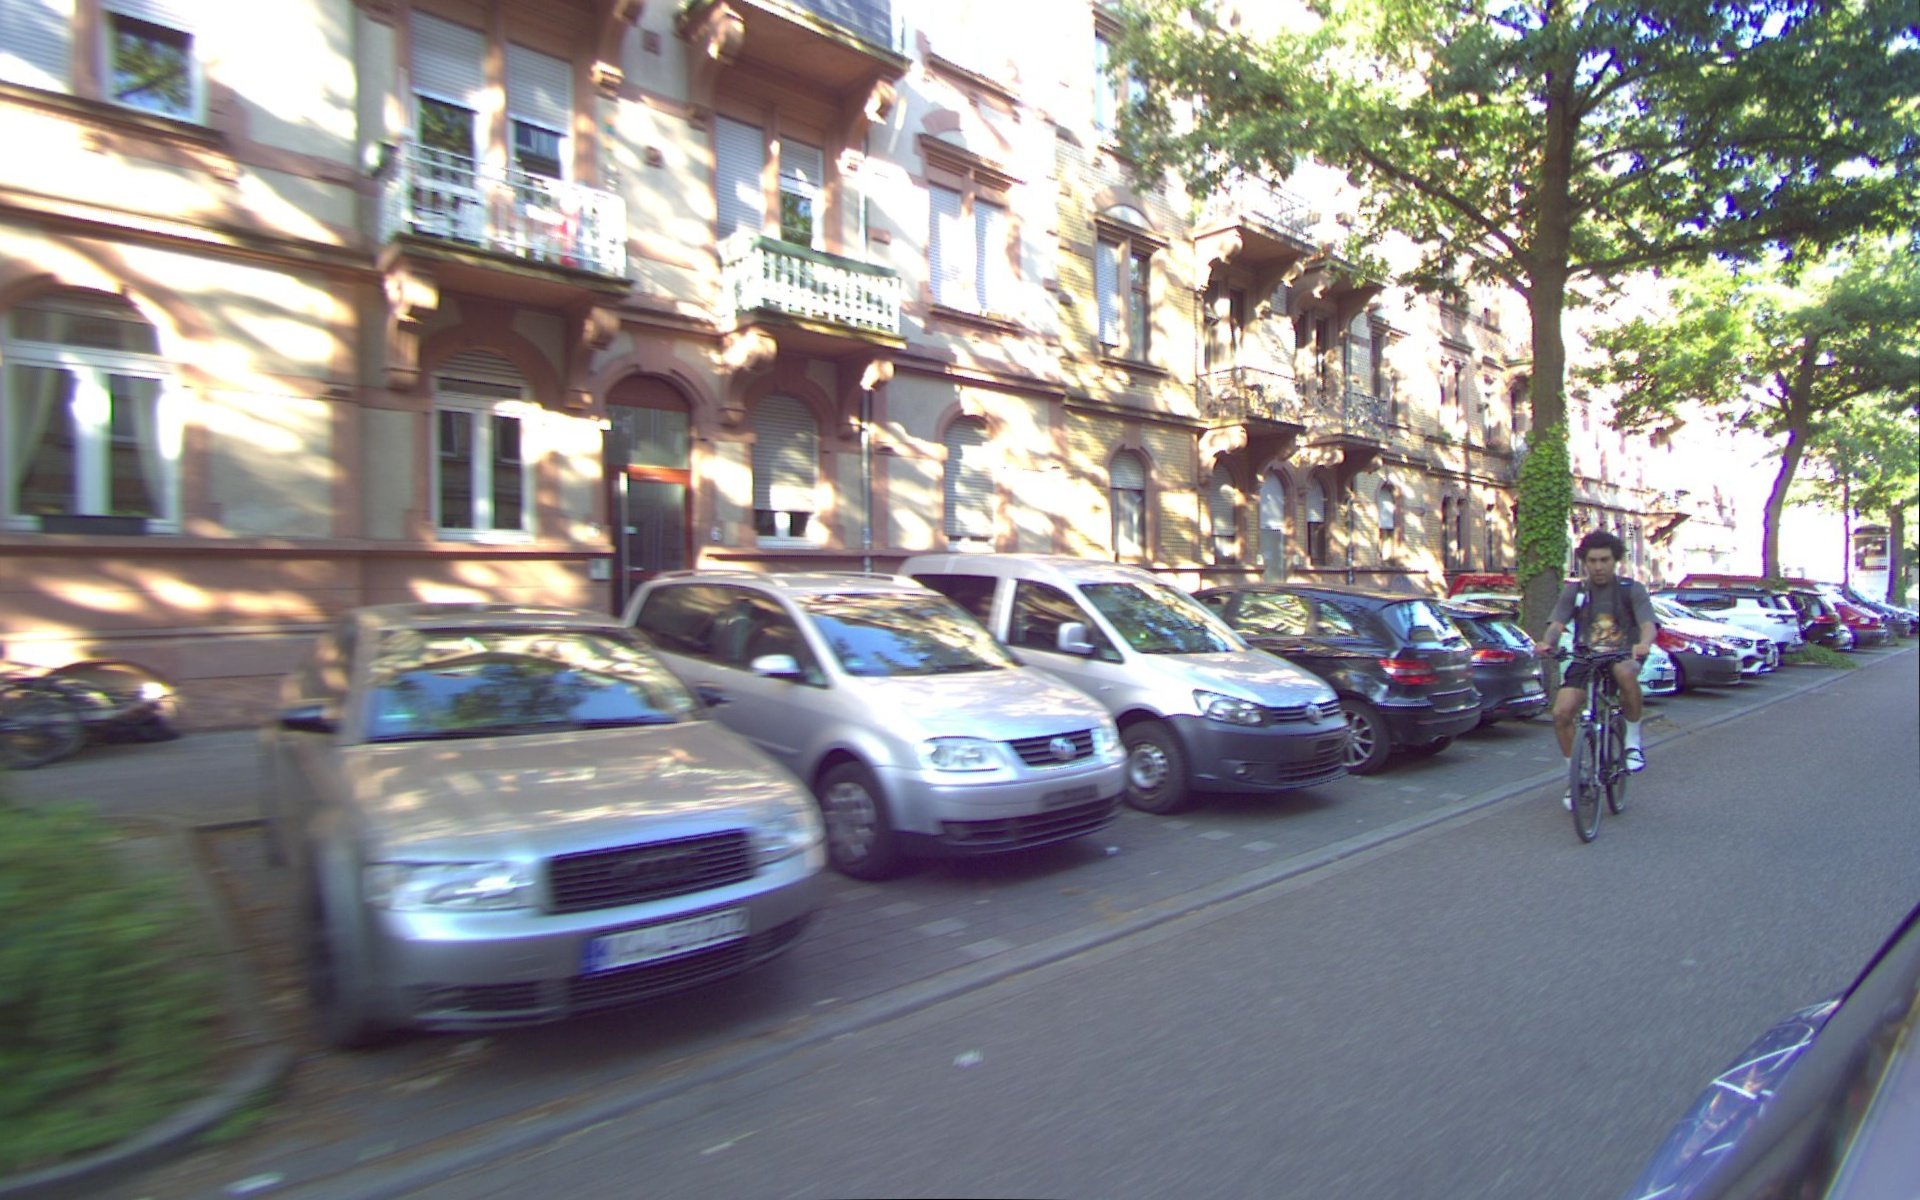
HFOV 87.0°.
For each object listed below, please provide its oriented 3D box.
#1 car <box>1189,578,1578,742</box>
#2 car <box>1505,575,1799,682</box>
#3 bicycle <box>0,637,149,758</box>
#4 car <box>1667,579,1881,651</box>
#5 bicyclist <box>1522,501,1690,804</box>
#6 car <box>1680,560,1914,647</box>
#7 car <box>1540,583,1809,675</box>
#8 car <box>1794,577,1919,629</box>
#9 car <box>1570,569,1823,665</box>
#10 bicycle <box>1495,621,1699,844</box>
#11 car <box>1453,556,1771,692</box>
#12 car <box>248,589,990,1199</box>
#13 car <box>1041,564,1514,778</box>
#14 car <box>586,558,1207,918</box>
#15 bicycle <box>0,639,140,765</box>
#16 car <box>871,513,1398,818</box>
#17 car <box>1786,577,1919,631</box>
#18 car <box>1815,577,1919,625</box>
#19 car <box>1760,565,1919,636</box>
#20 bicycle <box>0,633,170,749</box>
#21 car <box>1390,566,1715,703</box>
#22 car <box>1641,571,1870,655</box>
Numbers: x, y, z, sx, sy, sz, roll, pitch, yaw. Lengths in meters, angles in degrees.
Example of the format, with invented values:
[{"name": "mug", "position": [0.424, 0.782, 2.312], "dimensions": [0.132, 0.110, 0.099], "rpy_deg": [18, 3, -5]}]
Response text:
[{"name": "car", "position": [4.828, 0.554, 11.918], "dimensions": [1.709, 1.478, 3.840], "rpy_deg": [0, 3, -43]}, {"name": "car", "position": [12.433, 0.416, 18.405], "dimensions": [1.749, 1.599, 4.057], "rpy_deg": [0, 3, -39]}, {"name": "bicycle", "position": [-7.171, 0.748, 7.832], "dimensions": [1.385, 0.866, 0.399], "rpy_deg": [0, 0, -41]}, {"name": "car", "position": [21.228, 0.318, 26.512], "dimensions": [1.750, 1.473, 4.057], "rpy_deg": [0, 5, -41]}, {"name": "bicyclist", "position": [4.459, 0.323, 6.976], "dimensions": [1.101, 1.899, 0.711], "rpy_deg": [0, 0, -42]}, {"name": "car", "position": [23.215, 0.016, 28.241], "dimensions": [1.892, 2.001, 4.699], "rpy_deg": [0, 5, -41]}, {"name": "car", "position": [14.174, 0.486, 20.266], "dimensions": [1.749, 1.499, 4.057], "rpy_deg": [0, 3, -39]}, {"name": "car", "position": [32.530, 0.105, 36.057], "dimensions": [1.750, 1.548, 4.057], "rpy_deg": [0, 5, -41]}, {"name": "car", "position": [15.775, 0.288, 21.855], "dimensions": [1.749, 1.641, 4.057], "rpy_deg": [0, 5, -40]}, {"name": "bicycle", "position": [4.414, 0.811, 6.955], "dimensions": [1.855, 1.276, 0.711], "rpy_deg": [0, 1, -42]}, {"name": "car", "position": [10.660, 0.281, 16.805], "dimensions": [1.749, 1.909, 4.057], "rpy_deg": [0, 3, -39]}, {"name": "car", "position": [-2.030, 0.696, 4.789], "dimensions": [1.869, 1.385, 4.468], "rpy_deg": [0, 2, -39]}, {"name": "car", "position": [2.971, 0.501, 10.204], "dimensions": [1.709, 1.607, 4.238], "rpy_deg": [0, 3, -43]}, {"name": "car", "position": [-0.700, 0.555, 6.769], "dimensions": [1.871, 1.623, 4.236], "rpy_deg": [0, 2, -44]}, {"name": "bicycle", "position": [-6.936, 0.750, 7.452], "dimensions": [1.385, 0.866, 0.399], "rpy_deg": [0, 0, -41]}, {"name": "car", "position": [1.194, 0.439, 8.544], "dimensions": [1.751, 1.910, 4.239], "rpy_deg": [0, -1, -40]}, {"name": "car", "position": [31.024, 0.123, 34.562], "dimensions": [1.750, 1.548, 4.057], "rpy_deg": [0, 5, -41]}, {"name": "car", "position": [34.463, 0.051, 37.422], "dimensions": [1.750, 1.548, 4.057], "rpy_deg": [0, 5, -41]}, {"name": "car", "position": [28.769, -0.045, 32.842], "dimensions": [1.750, 1.956, 4.057], "rpy_deg": [0, 5, -41]}, {"name": "bicycle", "position": [-7.381, 0.727, 8.183], "dimensions": [1.552, 0.866, 0.362], "rpy_deg": [0, 0, -41]}, {"name": "car", "position": [8.790, 0.404, 15.286], "dimensions": [1.707, 1.703, 3.844], "rpy_deg": [0, 3, -39]}, {"name": "car", "position": [19.335, 0.251, 24.742], "dimensions": [1.749, 1.641, 4.057], "rpy_deg": [0, 5, -40]}]
